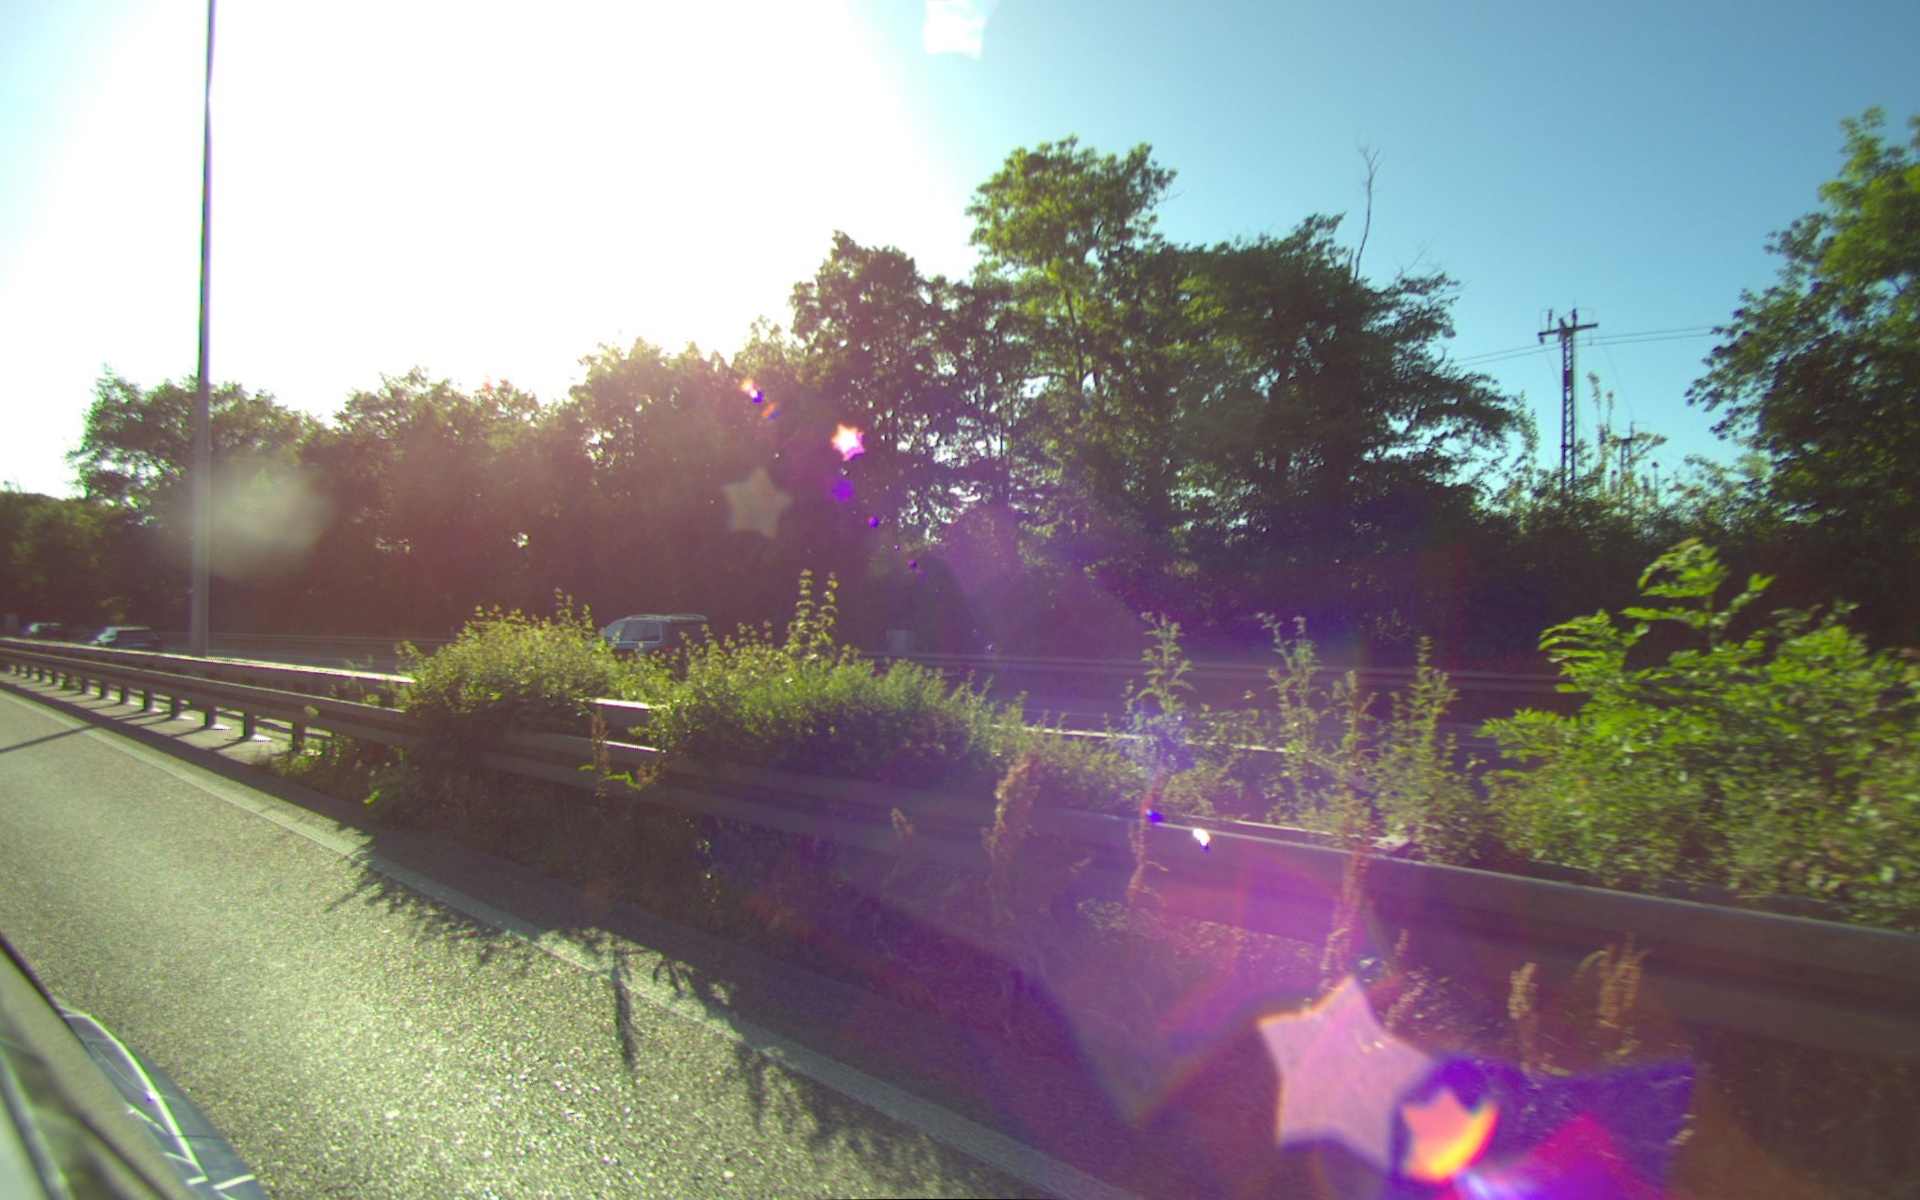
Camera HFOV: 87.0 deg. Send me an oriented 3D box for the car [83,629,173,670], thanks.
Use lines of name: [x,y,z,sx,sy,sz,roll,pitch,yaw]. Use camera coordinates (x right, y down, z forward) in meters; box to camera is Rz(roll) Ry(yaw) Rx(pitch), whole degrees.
car: [-33.110,1.904,40.220,4.873,1.478,1.941,-1,-1,40]

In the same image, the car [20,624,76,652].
car: [-62.058,2.544,68.817,5.872,1.738,2.098,-1,-1,40]

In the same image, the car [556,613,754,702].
car: [-6.814,1.192,22.386,4.741,1.737,1.941,-1,-1,40]

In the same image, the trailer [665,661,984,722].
trailer: [-2.708,1.611,18.772,6.327,0.746,2.235,-1,-2,40]
